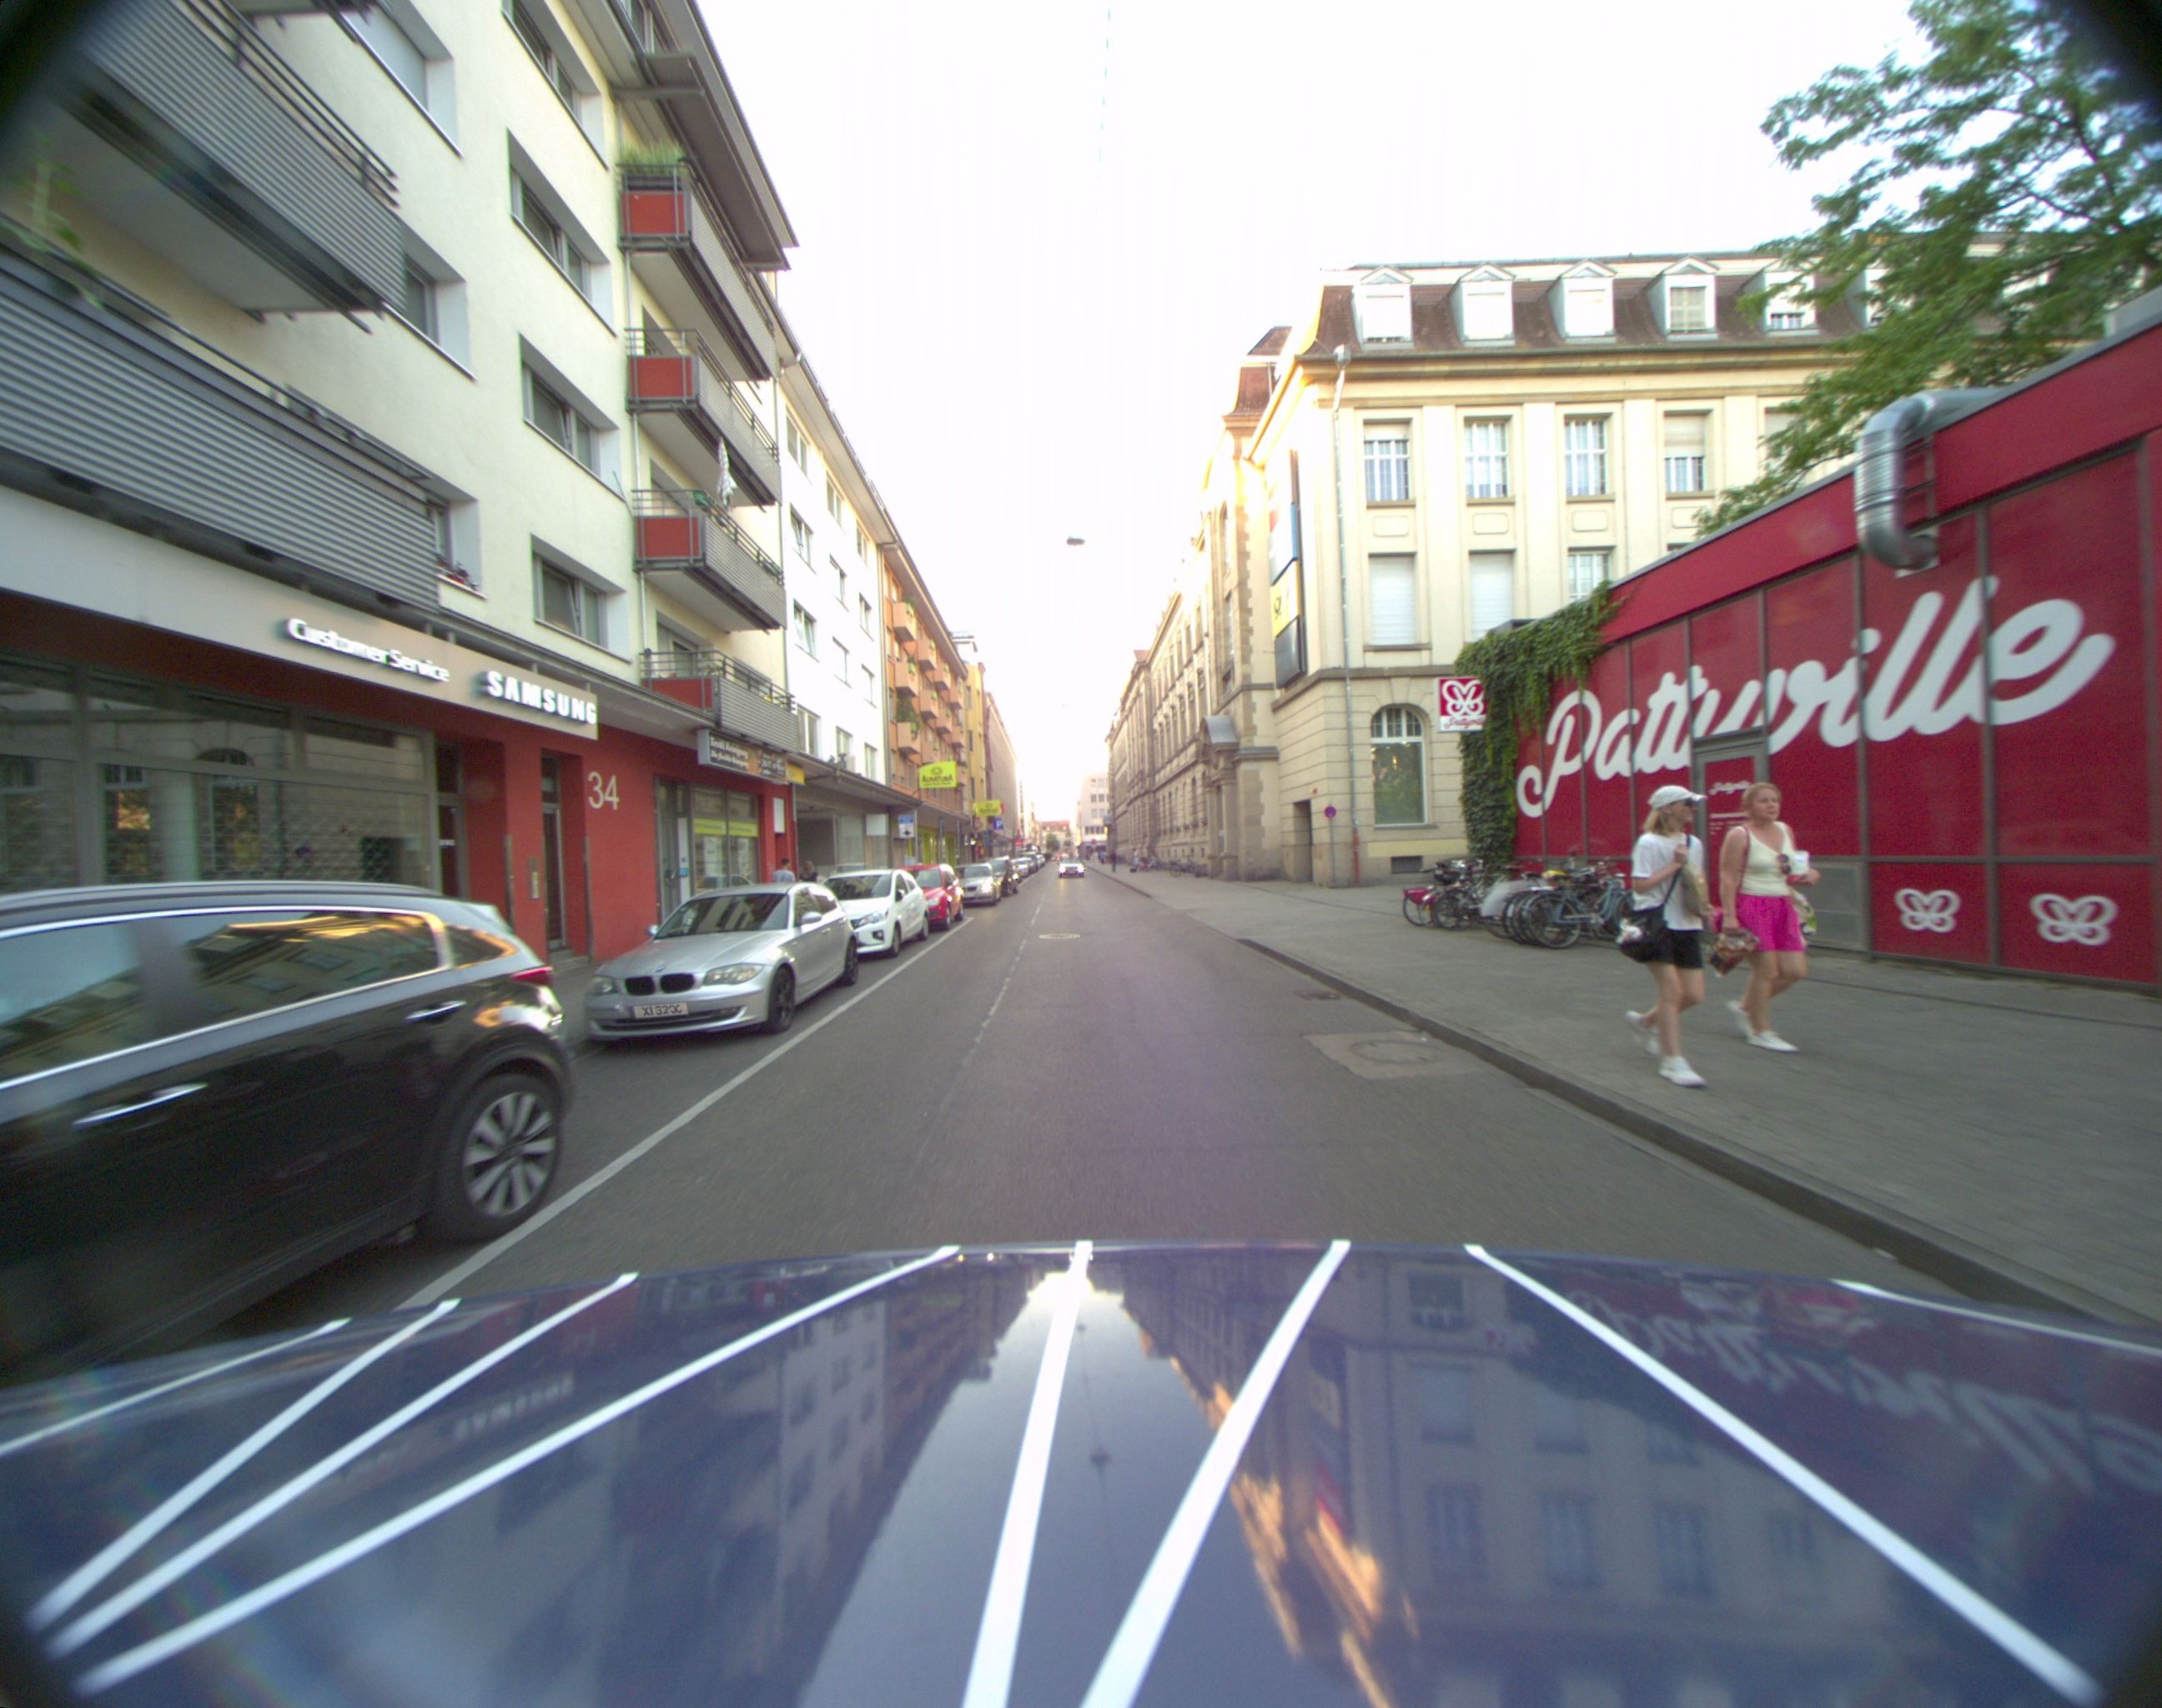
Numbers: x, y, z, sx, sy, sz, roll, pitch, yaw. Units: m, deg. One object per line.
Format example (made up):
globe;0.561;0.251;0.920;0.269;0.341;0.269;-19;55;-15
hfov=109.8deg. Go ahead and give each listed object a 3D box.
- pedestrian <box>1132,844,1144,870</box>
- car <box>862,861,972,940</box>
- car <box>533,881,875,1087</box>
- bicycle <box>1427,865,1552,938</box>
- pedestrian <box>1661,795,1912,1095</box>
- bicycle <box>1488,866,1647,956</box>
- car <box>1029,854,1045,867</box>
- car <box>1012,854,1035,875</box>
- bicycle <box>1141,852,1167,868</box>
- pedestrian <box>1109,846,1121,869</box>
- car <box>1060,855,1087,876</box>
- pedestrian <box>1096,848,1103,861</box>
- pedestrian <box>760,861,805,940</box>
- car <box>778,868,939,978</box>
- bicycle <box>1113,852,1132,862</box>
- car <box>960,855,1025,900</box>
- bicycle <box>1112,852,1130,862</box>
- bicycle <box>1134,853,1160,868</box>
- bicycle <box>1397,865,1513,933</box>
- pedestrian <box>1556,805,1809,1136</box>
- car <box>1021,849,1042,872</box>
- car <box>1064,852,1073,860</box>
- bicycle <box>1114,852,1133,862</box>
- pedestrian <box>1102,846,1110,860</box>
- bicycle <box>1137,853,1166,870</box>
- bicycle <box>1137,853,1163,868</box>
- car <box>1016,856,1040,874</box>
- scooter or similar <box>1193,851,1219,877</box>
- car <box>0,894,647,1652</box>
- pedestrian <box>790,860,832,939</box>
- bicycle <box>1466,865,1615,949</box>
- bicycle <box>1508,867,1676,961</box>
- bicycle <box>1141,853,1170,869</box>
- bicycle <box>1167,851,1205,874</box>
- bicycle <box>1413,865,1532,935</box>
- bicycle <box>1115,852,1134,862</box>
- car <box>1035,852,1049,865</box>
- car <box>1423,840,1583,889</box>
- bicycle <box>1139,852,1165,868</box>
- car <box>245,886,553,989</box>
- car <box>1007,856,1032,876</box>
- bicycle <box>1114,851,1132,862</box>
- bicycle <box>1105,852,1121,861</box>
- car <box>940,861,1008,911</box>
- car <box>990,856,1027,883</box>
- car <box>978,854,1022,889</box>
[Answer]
pedestrian;4.238;0.207;56.316;0.589;1.840;0.754;-4;1;-7
car;-3.779;1.003;18.279;1.717;1.503;4.651;-5;0;-3
car;-3.735;1.158;8.569;1.703;1.443;4.457;-5;0;-3
bicycle;6.810;0.787;12.700;1.799;1.101;0.500;-3;1;-2
pedestrian;4.537;0.544;4.957;0.755;1.739;0.846;-4;0;-1
bicycle;6.648;0.767;10.424;1.798;1.101;0.500;-3;1;2
car;-5.370;0.790;92.867;1.661;1.439;4.307;-4;1;-2
car;-4.782;0.866;63.742;1.622;1.507;4.173;-5;0;-2
bicycle;5.473;0.450;56.698;1.800;1.101;0.500;-4;1;-7
pedestrian;2.668;0.267;60.179;0.811;1.740;0.969;-4;1;-1
car;-0.575;0.802;53.326;1.741;1.407;4.681;0;0;-2
pedestrian;2.752;0.076;112.911;0.778;1.778;0.820;-3;1;-3
pedestrian;-6.478;0.992;16.493;0.649;1.652;0.794;1;1;1
car;-3.810;1.109;13.745;1.610;1.503;4.048;-5;0;0
bicycle;4.845;0.368;88.641;1.943;1.072;0.730;-4;1;-8
car;-3.586;0.908;31.521;1.798;1.600;4.487;-5;0;3
bicycle;4.731;0.358;89.983;1.943;1.072;0.730;-4;1;-8
bicycle;5.309;0.501;61.364;1.942;1.055;0.619;-4;1;-2
bicycle;6.663;0.791;13.579;1.799;1.101;0.500;-3;1;-1
pedestrian;3.523;0.622;4.552;0.650;1.740;0.985;-3;0;-1
car;-4.901;0.607;75.940;1.851;2.046;5.052;-4;1;-2
car;-2.777;0.535;169.258;1.824;1.728;3.999;-2;0;-2
bicycle;4.924;0.365;87.899;1.943;1.072;0.730;-4;1;-8
pedestrian;3.092;-0.099;95.032;0.831;1.736;0.769;-5;1;-1
bicycle;5.071;0.540;54.835;1.942;1.055;0.619;-4;2;-3
bicycle;5.451;0.492;60.118;1.943;1.055;0.619;-4;1;-7
car;-4.762;0.952;68.857;1.691;1.444;4.498;-5;0;0
scooter or similar;6.272;0.479;38.202;1.137;1.225;0.496;-4;1;-13
car;-3.457;1.108;2.036;1.769;1.632;4.790;-5;0;-1
pedestrian;-5.829;0.971;16.424;0.649;1.652;0.655;1;1;1
bicycle;6.653;0.760;11.056;1.798;1.101;0.500;-3;1;2
bicycle;6.663;0.768;9.954;1.798;1.101;0.500;-3;1;2
bicycle;5.482;0.487;55.884;1.943;1.055;0.619;-4;1;-7
bicycle;5.806;0.481;41.982;1.944;1.055;0.619;-6;2;-16
bicycle;6.799;0.786;13.235;1.799;1.101;0.500;-3;1;-2
bicycle;4.909;0.366;85.713;1.941;1.040;0.721;-3;1;-5
car;-5.651;0.621;109.866;1.781;1.656;4.811;-4;1;-3
car;13.137;0.322;23.800;4.016;1.363;1.750;-2;0;-2
bicycle;5.397;0.431;57.896;1.800;1.101;0.500;-4;1;-7
car;-11.629;1.340;13.413;1.744;1.329;4.000;-2;0;1
car;-4.683;0.901;58.572;1.696;1.403;4.637;-5;0;-4
bicycle;4.811;0.283;86.629;1.942;1.072;0.748;-4;1;-2
bicycle;4.377;0.288;104.605;2.025;1.102;0.730;-4;1;-7
car;-3.576;1.032;26.146;1.741;1.407;4.681;-5;0;-3
car;-4.315;0.906;45.725;1.696;1.406;4.756;-5;0;0
car;-4.259;0.895;40.757;1.756;1.658;4.756;-5;0;0
